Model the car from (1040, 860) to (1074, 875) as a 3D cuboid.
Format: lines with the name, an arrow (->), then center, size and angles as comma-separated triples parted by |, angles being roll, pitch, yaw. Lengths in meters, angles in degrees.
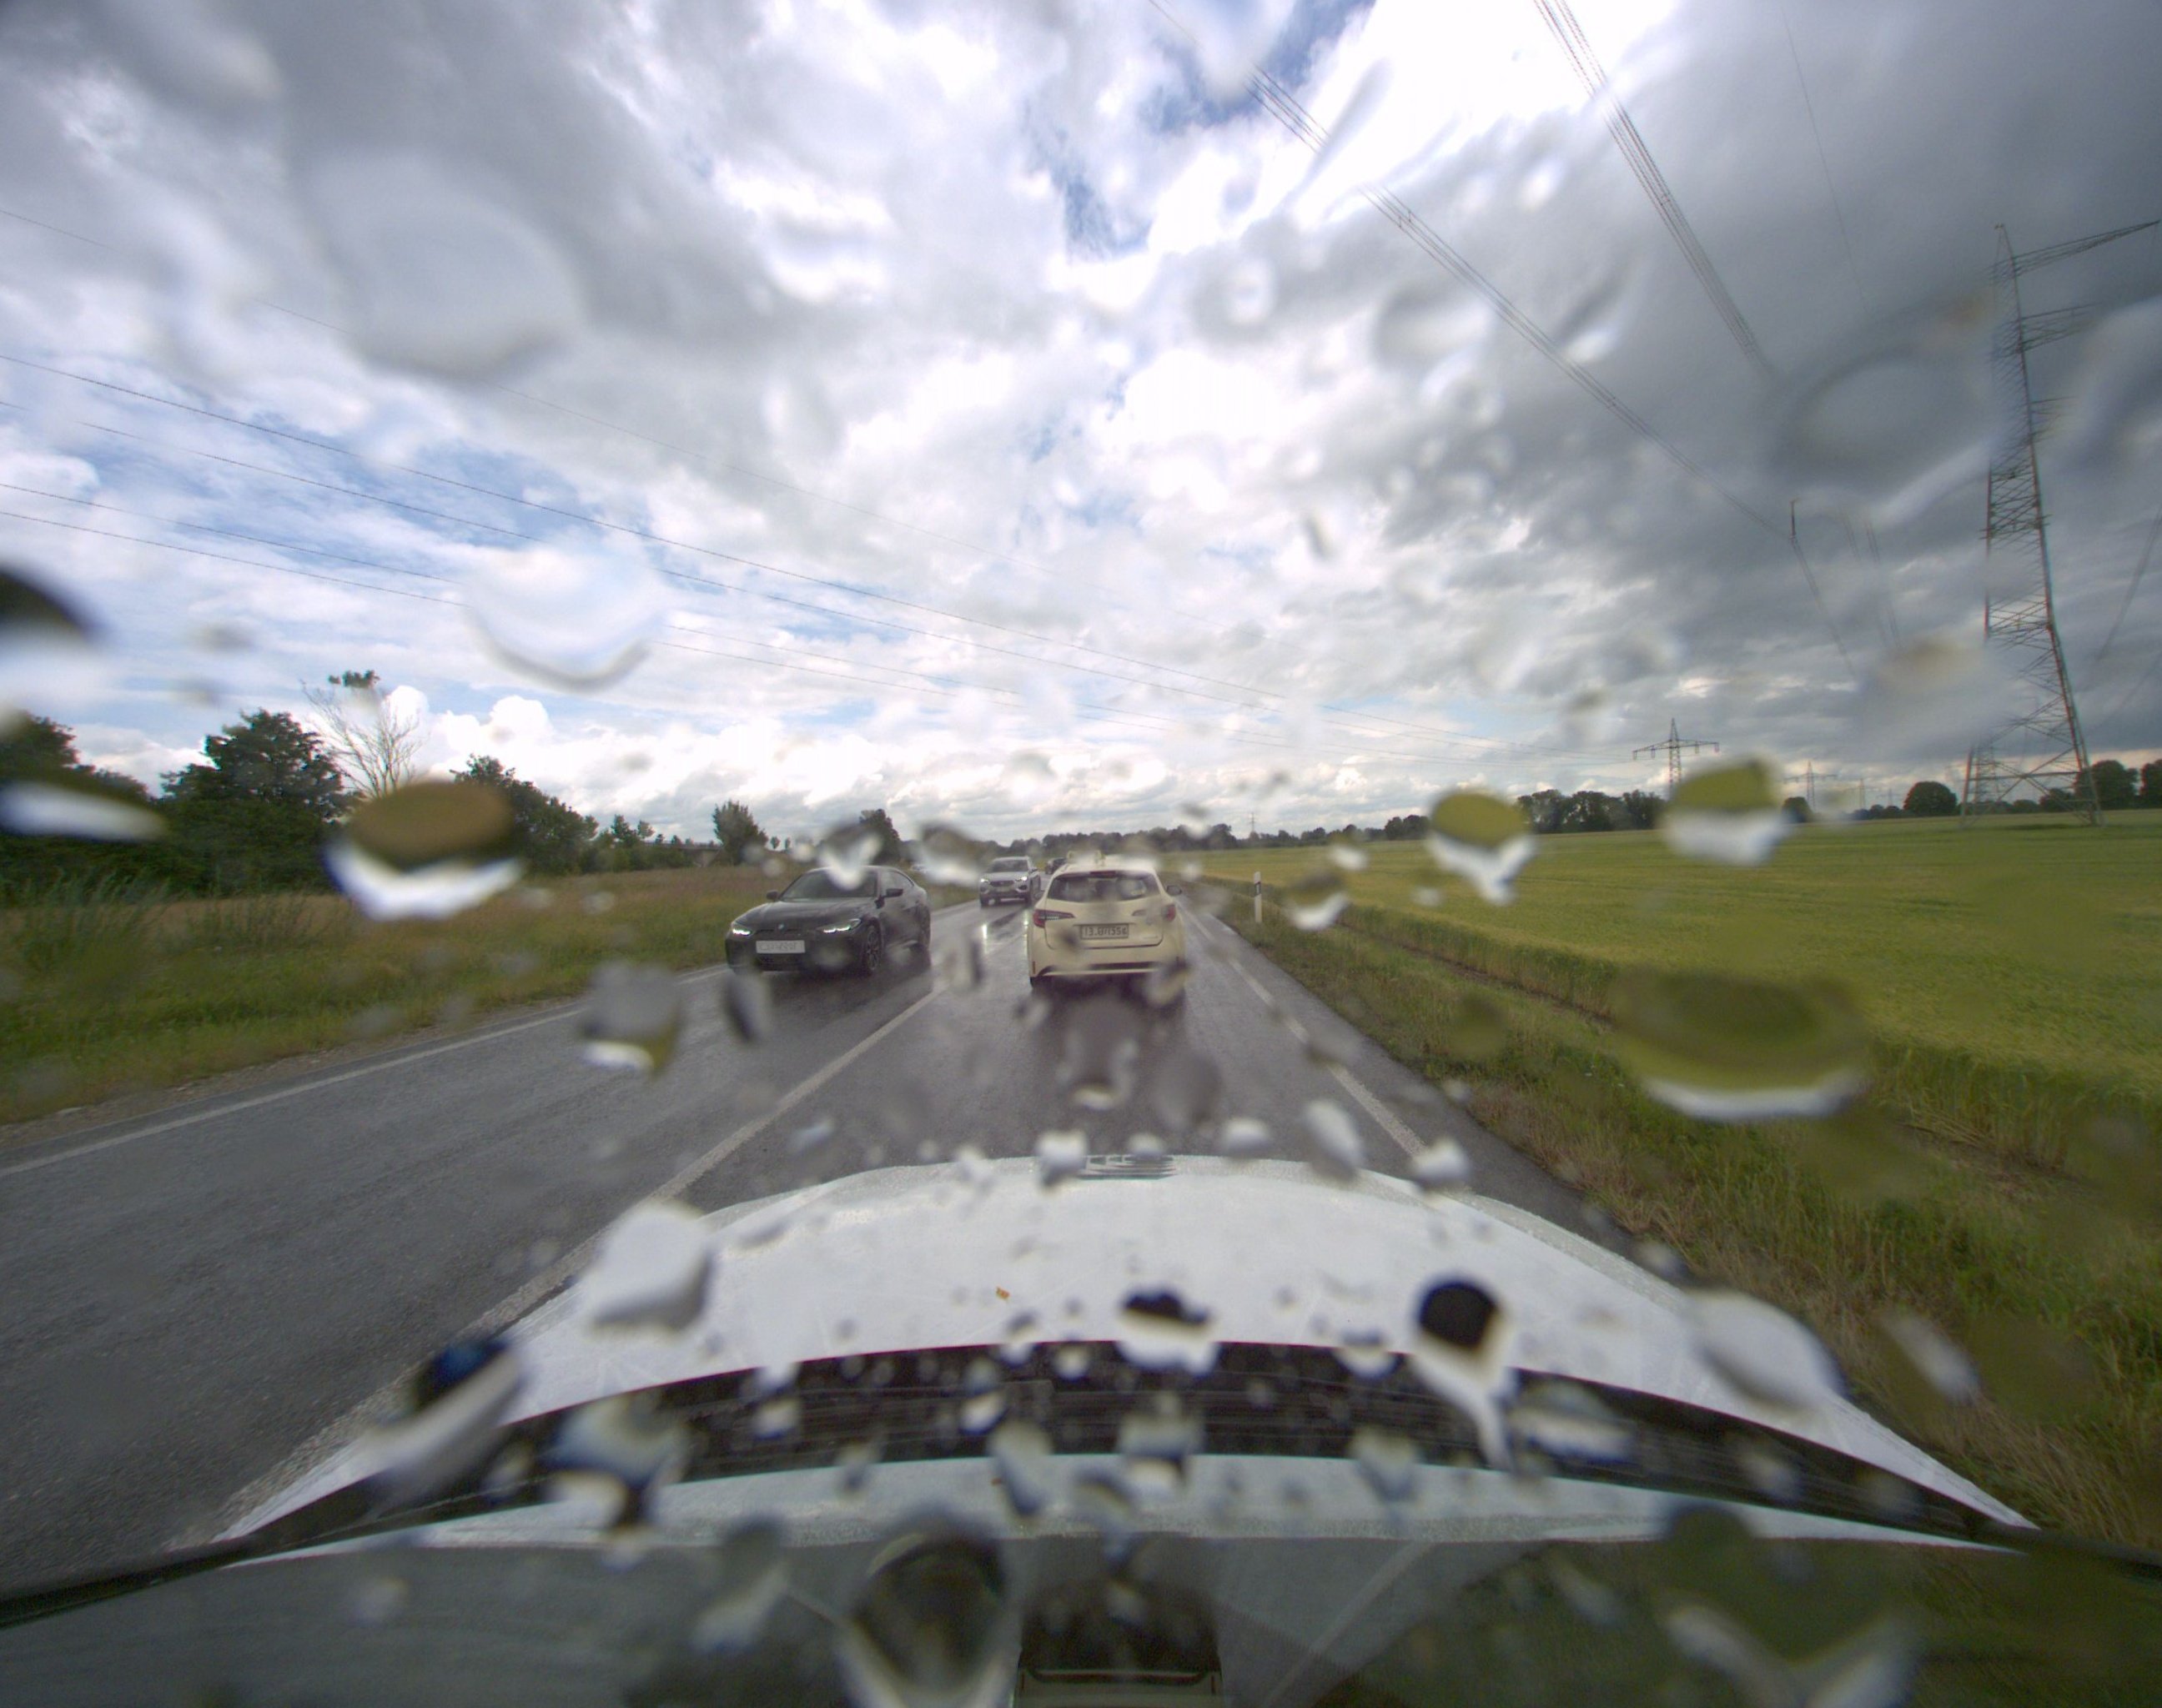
car -> -2.315, 1.334, 78.401 | 1.967, 1.413, 4.361 | 1, -2, -21

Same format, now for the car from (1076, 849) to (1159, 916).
car -> 0.872, 0.662, 20.546 | 1.834, 1.492, 4.609 | 0, 0, 1

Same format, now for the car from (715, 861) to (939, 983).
car -> -3.534, 0.874, 12.222 | 1.841, 1.448, 4.094 | -2, 0, 3

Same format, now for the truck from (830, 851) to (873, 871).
truck -> -38.411, 1.174, 136.037 | 8.128, 3.210, 3.041 | -1, -2, 42

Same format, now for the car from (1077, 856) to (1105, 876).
car -> 0.718, 0.932, 61.674 | 1.611, 1.413, 3.728 | 1, -2, -7

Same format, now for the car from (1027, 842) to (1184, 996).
car -> 0.452, 0.709, 10.205 | 1.604, 1.562, 3.744 | 0, -2, 6

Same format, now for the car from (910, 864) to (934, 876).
car -> -21.358, 2.177, 109.375 | 1.780, 1.541, 4.183 | 2, -2, -33

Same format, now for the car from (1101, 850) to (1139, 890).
car -> 1.695, 0.711, 36.084 | 1.607, 1.659, 3.739 | 0, -2, 2

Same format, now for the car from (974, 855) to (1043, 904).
car -> -2.567, 0.892, 29.816 | 1.901, 1.609, 4.094 | -2, 0, 3

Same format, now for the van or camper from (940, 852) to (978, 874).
van or camper -> -16.400, 1.175, 109.304 | 2.554, 2.896, 6.674 | 1, -1, -32
